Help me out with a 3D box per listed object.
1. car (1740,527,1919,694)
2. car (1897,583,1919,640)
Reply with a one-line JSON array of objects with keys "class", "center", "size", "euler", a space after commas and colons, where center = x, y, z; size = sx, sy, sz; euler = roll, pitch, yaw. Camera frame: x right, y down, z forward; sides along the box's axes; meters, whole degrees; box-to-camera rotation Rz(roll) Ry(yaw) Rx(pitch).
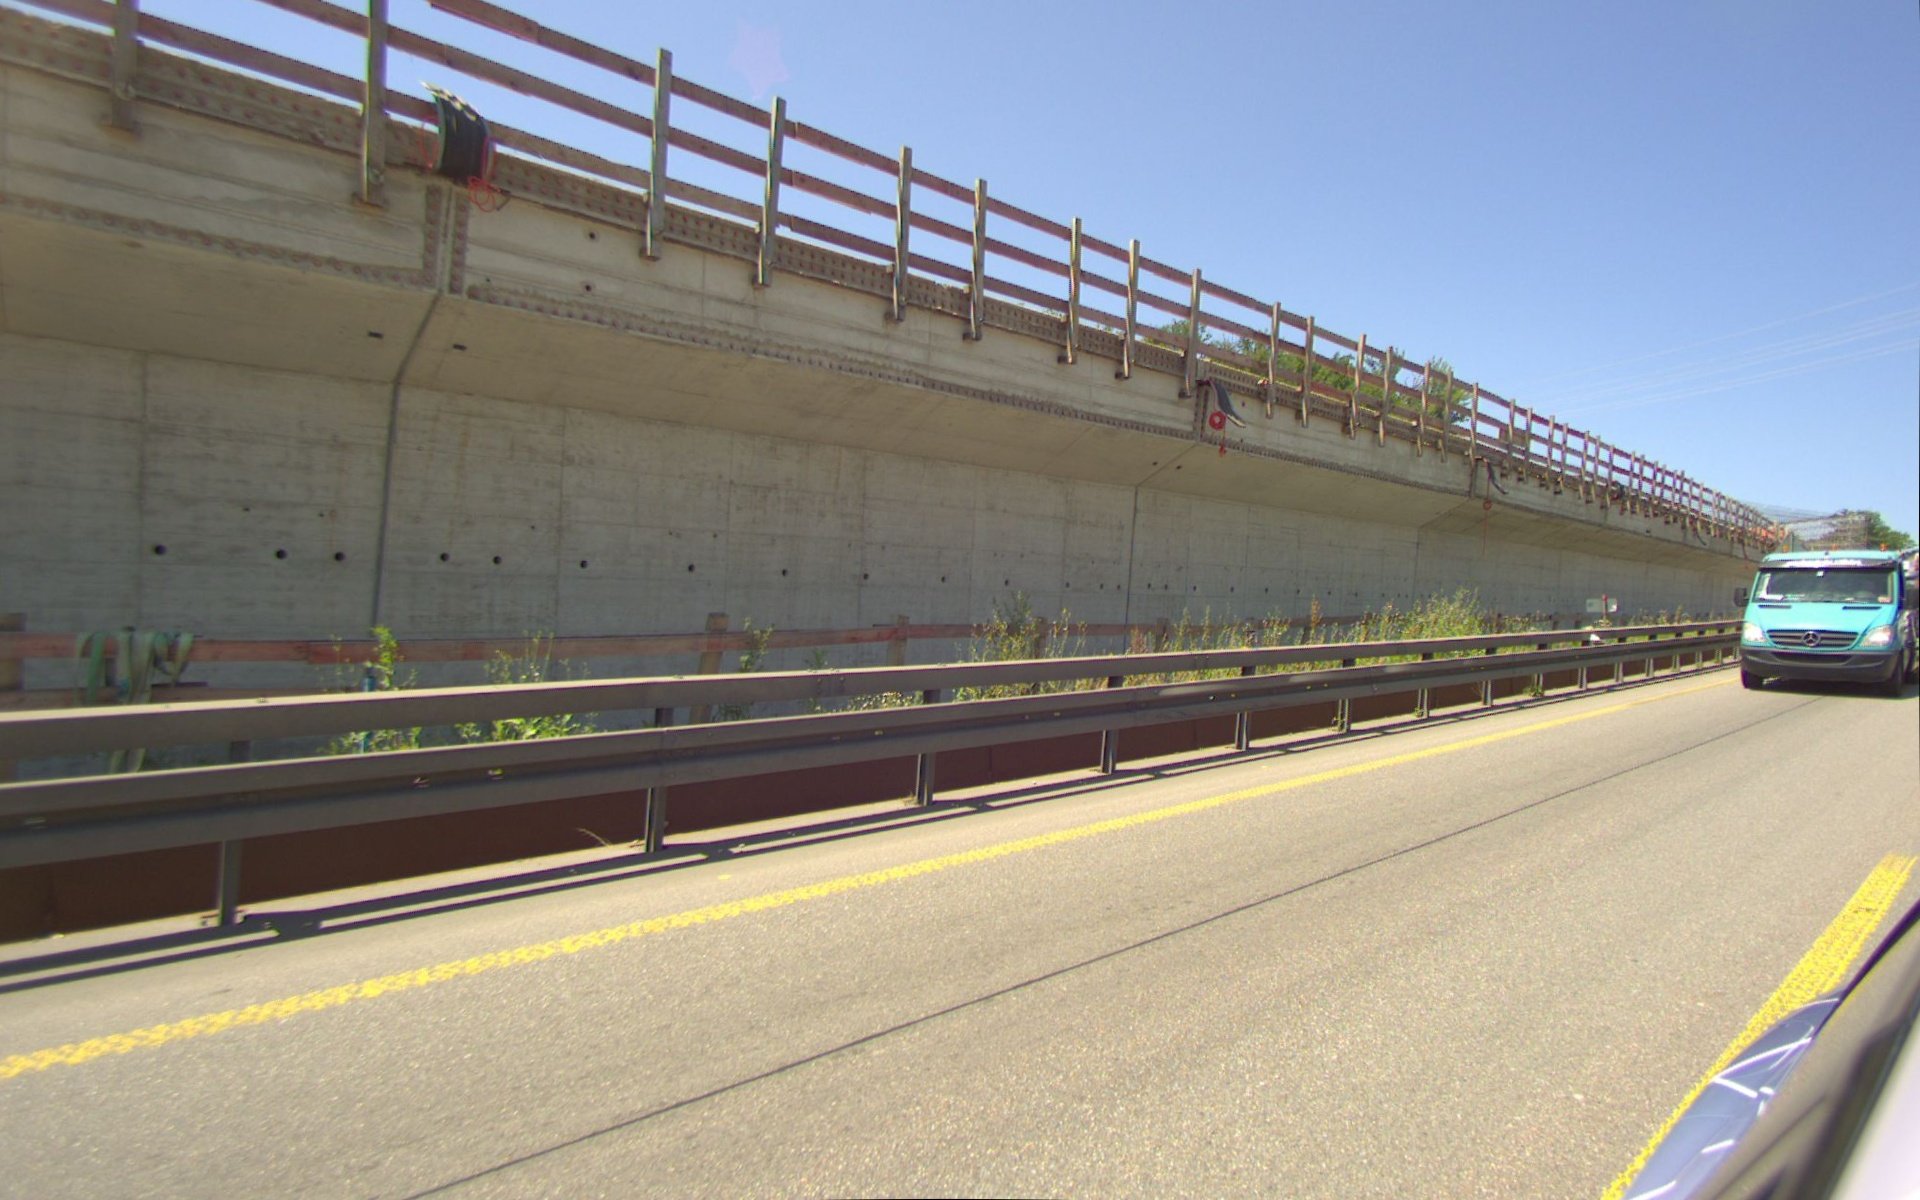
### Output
[{"class": "car", "center": [15.775, 0.132, 17.736], "size": [7.084, 2.411, 1.967], "euler": [0, 0, -41]}, {"class": "car", "center": [30.211, 0.321, 31.007], "size": [3.931, 1.681, 1.857], "euler": [-1, 0, -42]}]
